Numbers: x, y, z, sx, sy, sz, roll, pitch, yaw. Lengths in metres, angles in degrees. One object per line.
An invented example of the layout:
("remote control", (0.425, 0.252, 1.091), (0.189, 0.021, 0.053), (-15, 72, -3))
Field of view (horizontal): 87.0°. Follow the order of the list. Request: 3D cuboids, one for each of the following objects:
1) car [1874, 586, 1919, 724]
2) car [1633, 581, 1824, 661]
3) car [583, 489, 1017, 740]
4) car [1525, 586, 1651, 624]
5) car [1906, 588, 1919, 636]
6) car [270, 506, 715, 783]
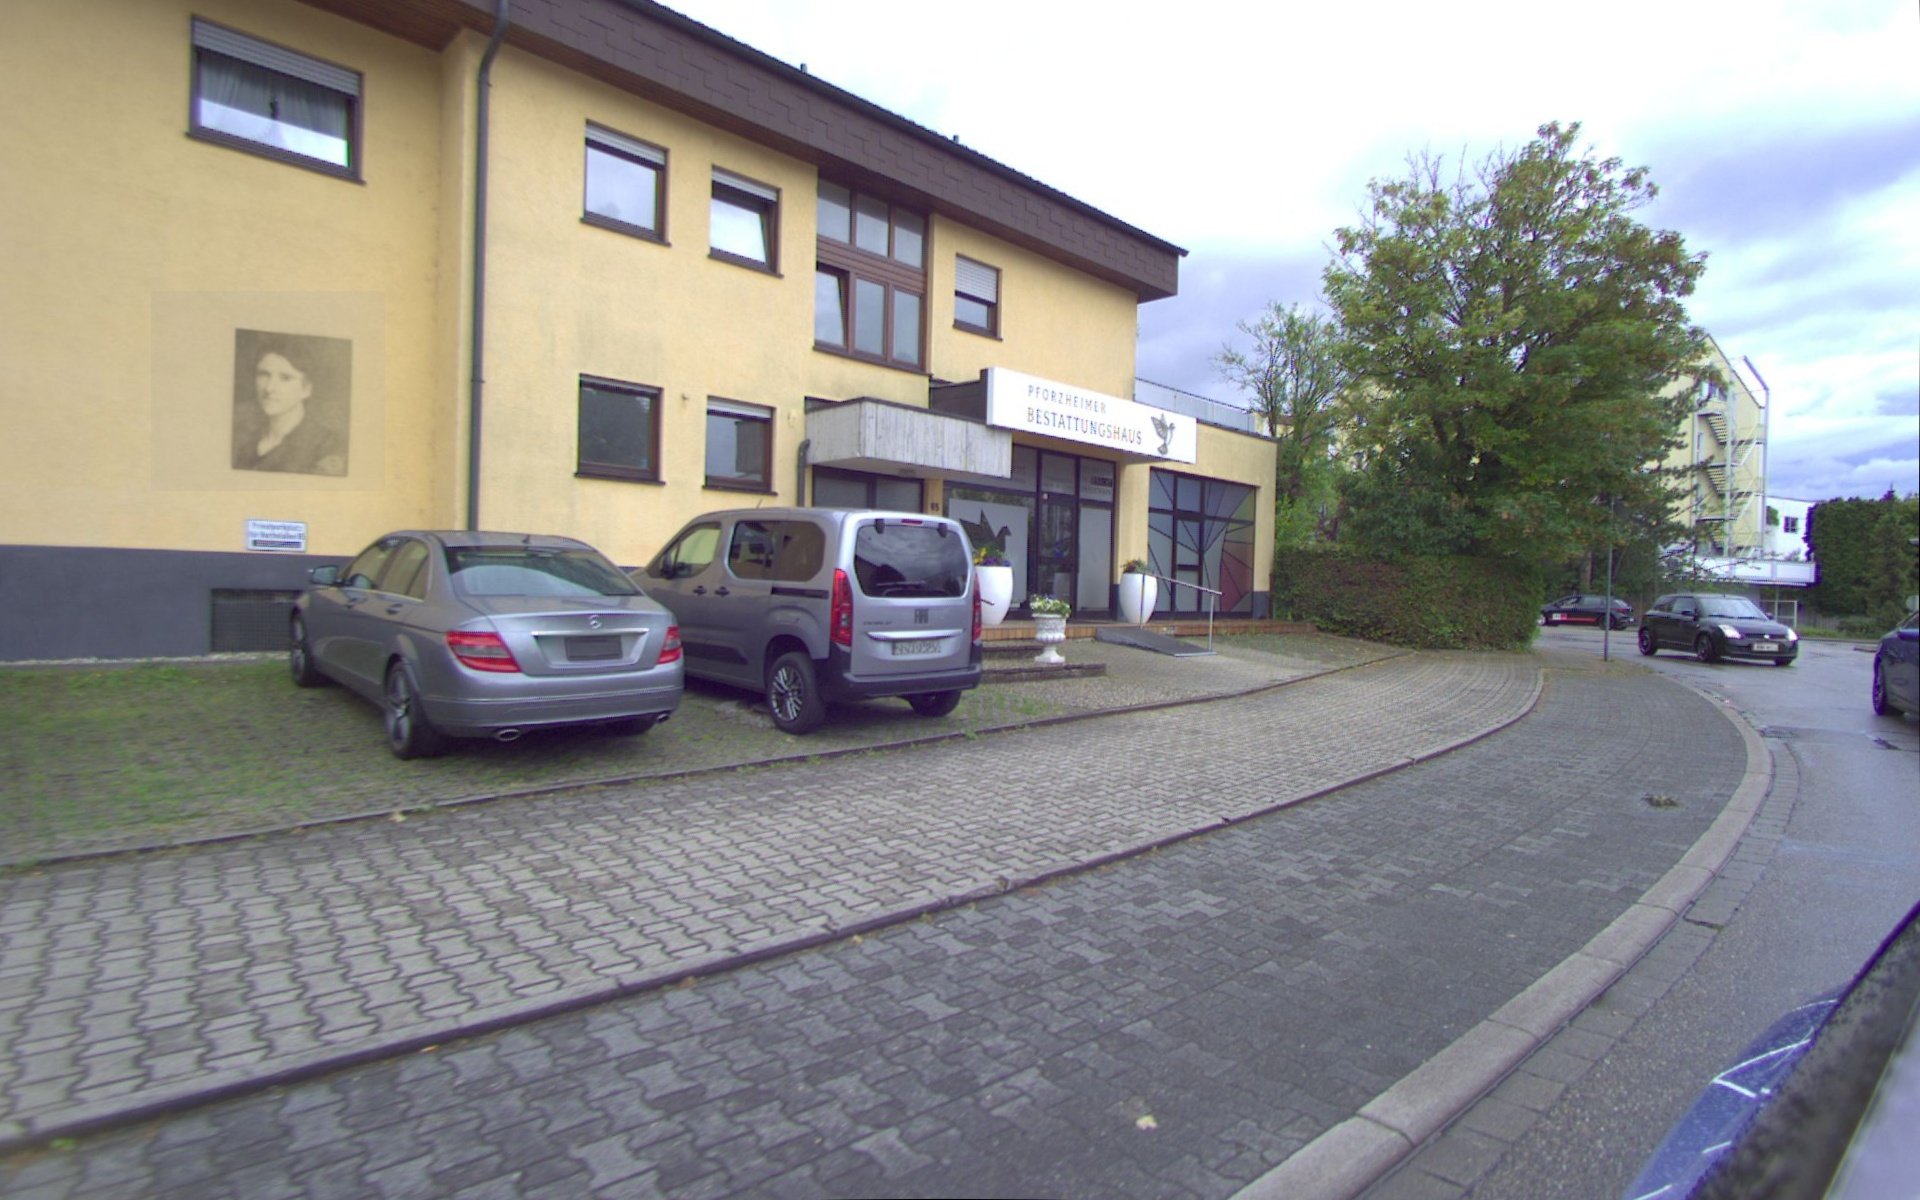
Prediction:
("car", (11.765, 0.608, 11.200), (1.902, 1.514, 4.294), (1, 1, 35))
("car", (17.067, 0.398, 22.736), (1.719, 1.538, 3.991), (-1, 2, 9))
("car", (-1.724, -0.063, 9.708), (4.298, 1.802, 1.875), (7, 6, 44))
("car", (26.280, 0.199, 42.424), (1.792, 1.426, 4.193), (1, 1, -44))
("car", (30.673, 0.427, 30.293), (1.803, 1.505, 3.917), (1, 1, 16))
("car", (-3.824, 0.103, 7.815), (4.365, 1.440, 1.669), (7, 6, 44))
